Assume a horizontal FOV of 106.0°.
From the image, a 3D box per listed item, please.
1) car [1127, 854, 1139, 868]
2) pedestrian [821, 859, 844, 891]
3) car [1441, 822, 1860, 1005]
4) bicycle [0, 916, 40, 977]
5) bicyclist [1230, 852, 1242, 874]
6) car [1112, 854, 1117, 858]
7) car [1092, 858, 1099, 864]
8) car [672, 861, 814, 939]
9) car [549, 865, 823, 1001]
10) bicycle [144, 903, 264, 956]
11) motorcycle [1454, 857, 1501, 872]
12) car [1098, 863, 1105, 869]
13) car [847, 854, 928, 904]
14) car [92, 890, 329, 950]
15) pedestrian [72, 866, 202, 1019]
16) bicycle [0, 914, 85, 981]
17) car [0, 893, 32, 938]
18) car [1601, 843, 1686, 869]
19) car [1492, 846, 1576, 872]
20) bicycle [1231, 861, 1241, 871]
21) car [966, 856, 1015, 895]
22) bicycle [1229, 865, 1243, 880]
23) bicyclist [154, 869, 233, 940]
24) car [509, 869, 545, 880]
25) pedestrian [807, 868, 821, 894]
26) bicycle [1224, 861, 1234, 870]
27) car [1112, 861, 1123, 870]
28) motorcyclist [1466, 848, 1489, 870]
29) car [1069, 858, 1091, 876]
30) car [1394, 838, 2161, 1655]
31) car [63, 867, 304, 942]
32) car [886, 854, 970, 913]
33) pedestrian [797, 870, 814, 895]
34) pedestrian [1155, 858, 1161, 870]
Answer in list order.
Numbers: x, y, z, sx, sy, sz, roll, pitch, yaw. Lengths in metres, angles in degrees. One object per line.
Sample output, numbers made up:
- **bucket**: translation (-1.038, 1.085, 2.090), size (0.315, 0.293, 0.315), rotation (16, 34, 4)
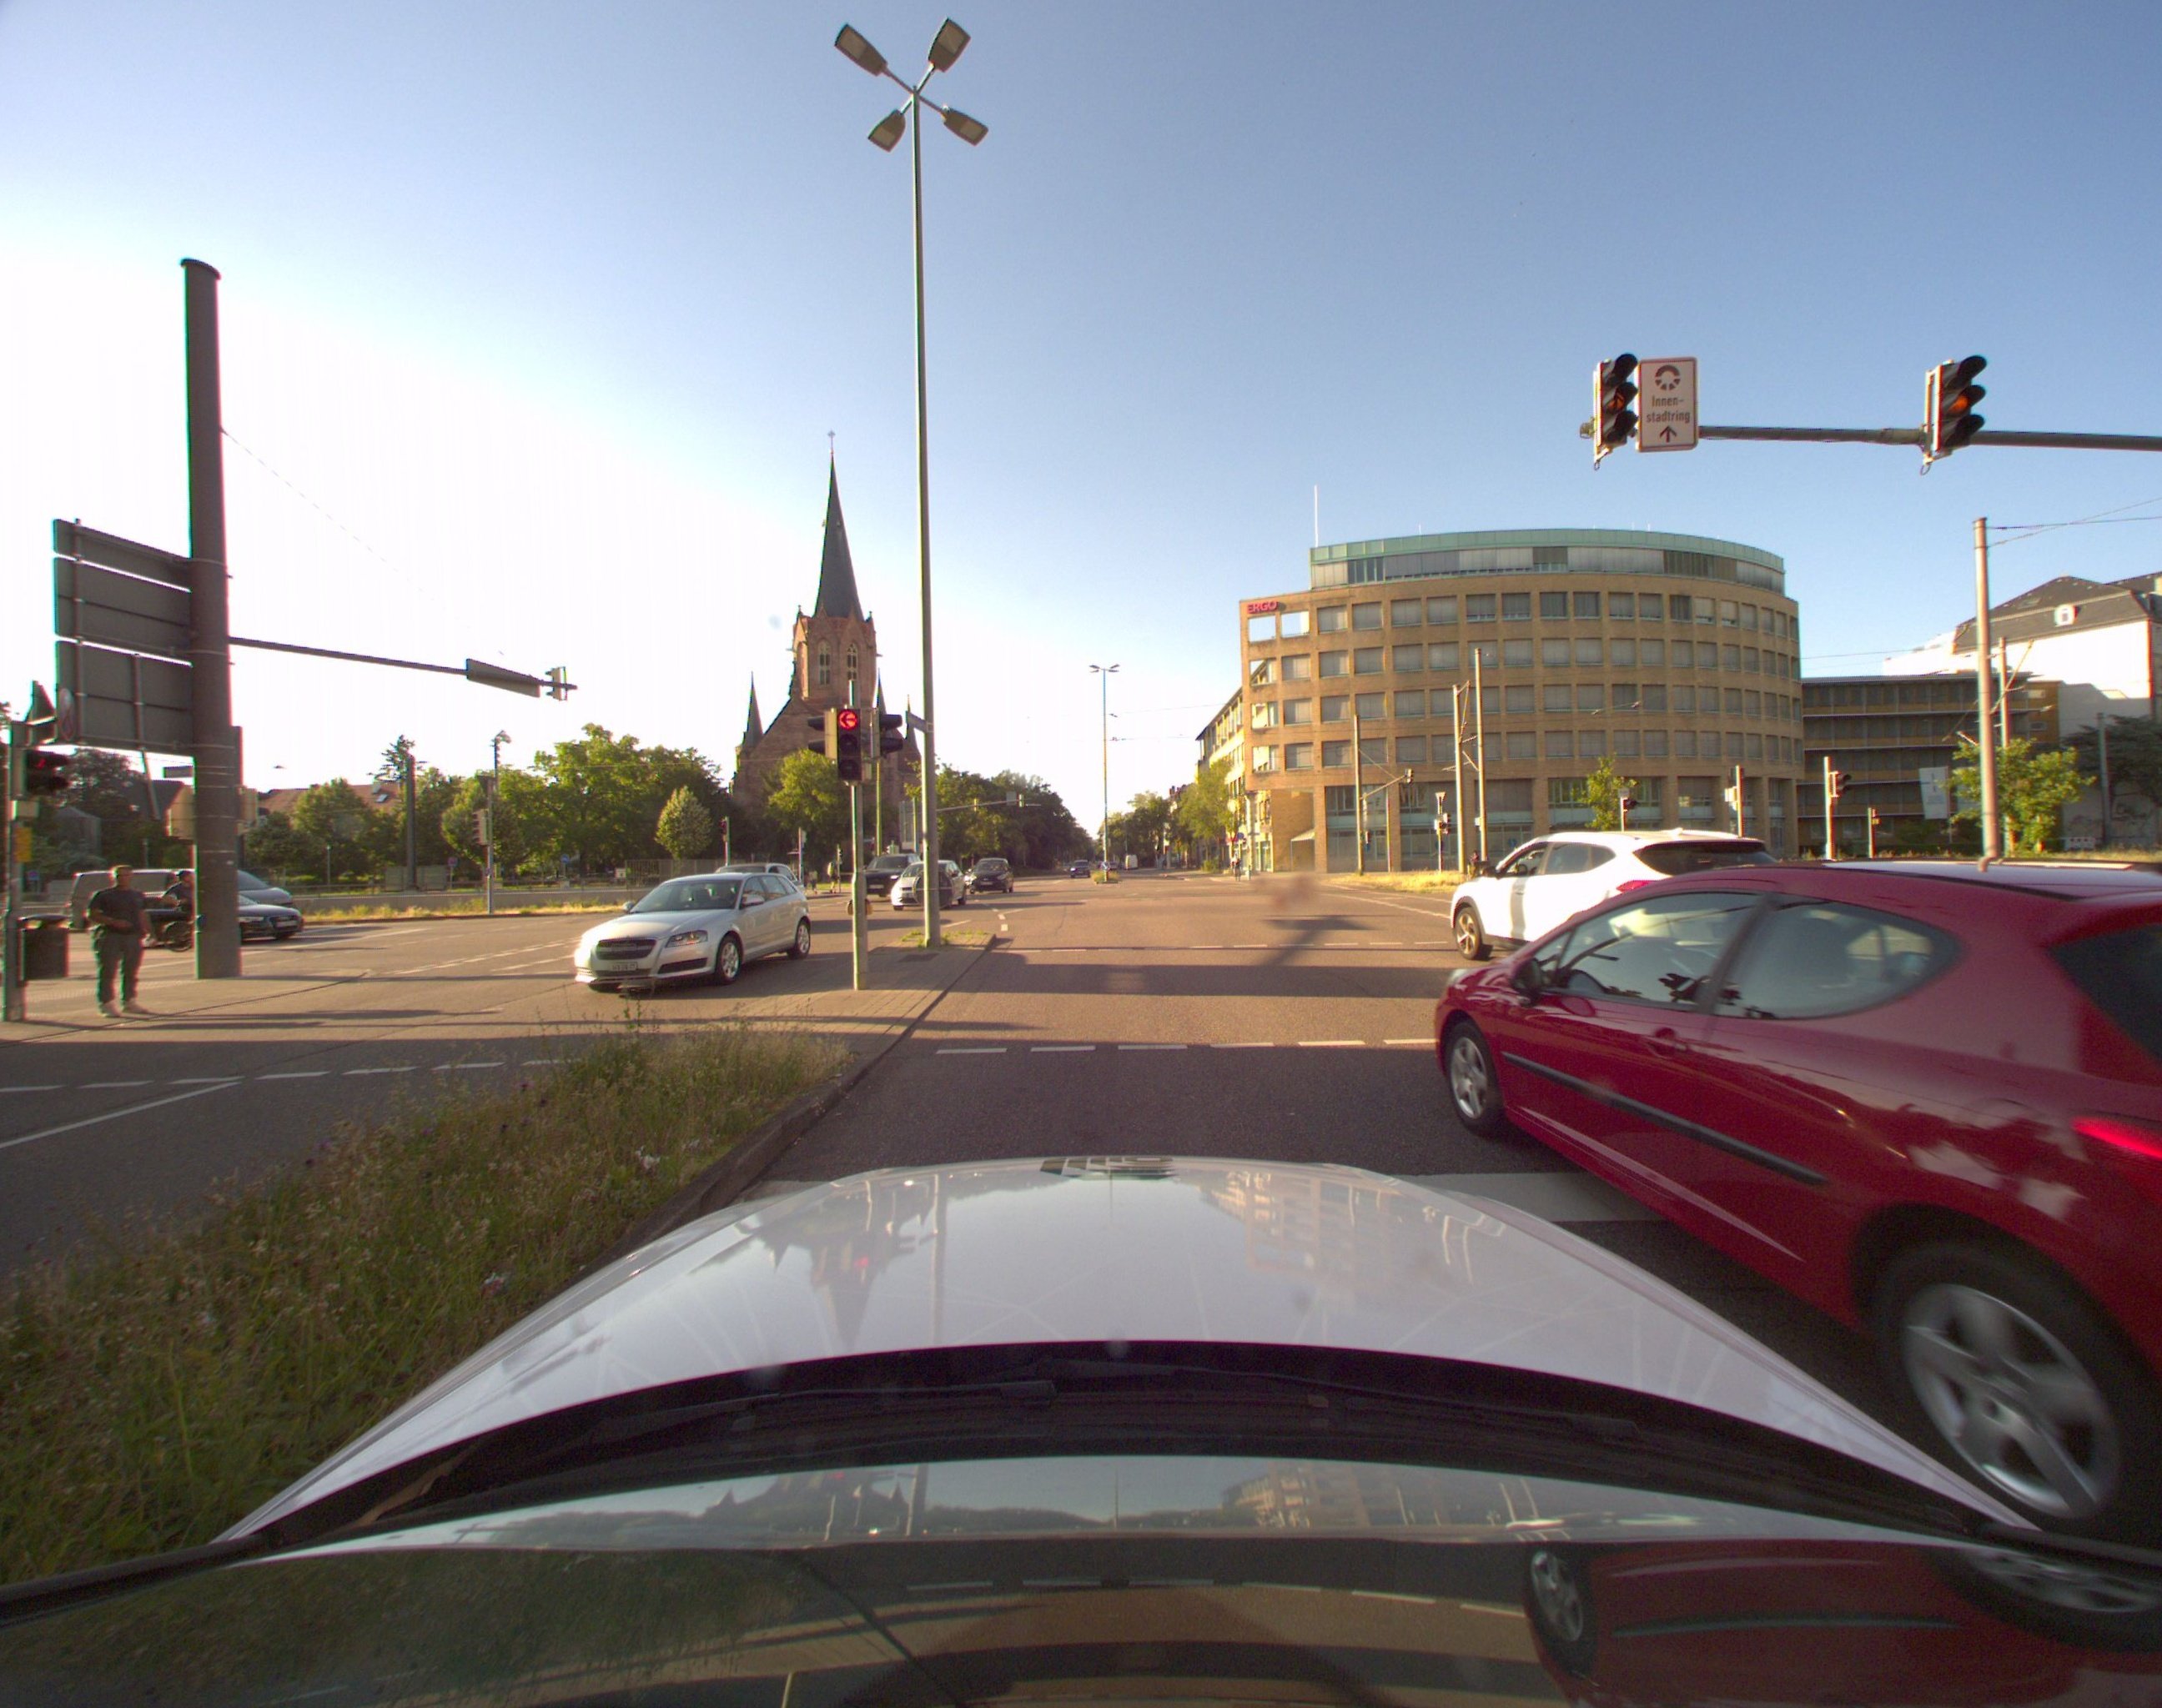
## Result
- **car**: translation (9.148, 1.229, 144.426), size (1.986, 2.440, 4.002), rotation (0, -1, 2)
- **pedestrian**: translation (-13.823, 1.140, 45.318), size (0.962, 1.739, 0.812), rotation (-1, -1, 0)
- **car**: translation (5.978, 0.542, 9.343), size (1.909, 1.607, 4.271), rotation (0, -1, 2)
- **bicycle**: translation (-19.547, 1.663, 13.830), size (0.732, 1.051, 2.300), rotation (-2, -1, 1)
- **bicyclist**: translation (9.745, 0.592, 51.171), size (0.590, 1.369, 0.930), rotation (0, -1, 2)
- **car**: translation (10.588, 0.696, 255.149), size (1.588, 1.267, 3.268), rotation (-2, 0, 2)
- **car**: translation (4.486, 2.116, 251.114), size (1.879, 1.671, 4.002), rotation (0, -1, 2)
- **car**: translation (-7.868, 0.995, 19.329), size (1.669, 1.544, 3.639), rotation (-3, 0, 1)
- **car**: translation (-5.238, 0.947, 11.513), size (1.702, 1.425, 4.104), rotation (-3, 0, 2)
- **bicycle**: translation (-20.809, 1.783, 19.352), size (1.770, 1.097, 0.952), rotation (-3, 0, 1)
- **motorcycle**: translation (27.319, 0.747, 56.088), size (2.708, 0.964, 1.032), rotation (-2, -1, 0)
- **car**: translation (5.059, 2.974, 201.039), size (1.588, 1.267, 3.268), rotation (-2, 0, 2)
- **car**: translation (-7.392, 0.894, 31.641), size (1.809, 1.711, 4.788), rotation (-3, 0, 2)
- **car**: translation (-22.644, 1.694, 21.311), size (4.175, 1.312, 1.800), rotation (-2, -1, -1)
- **pedestrian**: translation (-11.670, 1.057, 10.094), size (0.605, 1.787, 0.813), rotation (1, 0, 5)
- **bicycle**: translation (-18.741, 1.642, 13.851), size (0.732, 1.051, 2.300), rotation (-2, 0, 1)
- **car**: translation (-35.085, 1.956, 24.781), size (3.889, 1.374, 1.800), rotation (-2, -1, -1)
- **car**: translation (35.226, 0.130, 51.030), size (4.038, 1.492, 1.820), rotation (-2, -1, 0)
- **car**: translation (28.348, 0.319, 51.041), size (4.150, 1.492, 1.994), rotation (-2, -1, -1)
- **bicycle**: translation (15.213, 1.148, 79.937), size (0.644, 0.994, 2.081), rotation (-2, -1, 1)
- **car**: translation (-3.918, 0.914, 35.813), size (1.572, 1.544, 3.478), rotation (-3, 0, 2)
- **bicycle**: translation (9.766, 1.144, 51.324), size (0.590, 0.943, 1.979), rotation (0, -1, 2)
- **bicyclist**: translation (-21.059, 1.179, 19.352), size (0.733, 1.598, 0.963), rotation (-3, 0, 1)
- **car**: translation (-91.757, 3.379, 134.834), size (4.450, 1.571, 1.993), rotation (-2, -1, -10)
- **pedestrian**: translation (-17.397, 1.753, 53.076), size (0.711, 1.696, 0.888), rotation (0, -1, -26)
- **bicycle**: translation (15.319, 1.185, 84.441), size (0.644, 0.994, 2.081), rotation (-2, -1, 1)
- **car**: translation (5.454, 1.776, 123.177), size (1.588, 1.267, 3.268), rotation (-2, 0, 2)
- **motorcyclist**: translation (27.323, 0.355, 56.095), size (1.061, 1.435, 1.032), rotation (-2, -1, 1)
- **car**: translation (-0.064, 1.325, 82.250), size (1.986, 1.724, 5.031), rotation (-2, -1, 1)
- **car**: translation (2.823, 0.713, 3.307), size (1.663, 1.462, 4.001), rotation (0, -1, 2)
- **car**: translation (-26.843, 1.472, 24.504), size (4.908, 2.014, 1.999), rotation (-2, -1, -1)
- **car**: translation (-4.586, 0.831, 24.915), size (1.669, 1.544, 3.807), rotation (-3, 0, 2)
- **pedestrian**: translation (-18.838, 1.917, 55.682), size (0.848, 1.696, 1.005), rotation (0, -1, -37)
- **pedestrian**: translation (12.283, 1.611, 130.468), size (0.844, 1.803, 0.776), rotation (-2, 0, 1)
